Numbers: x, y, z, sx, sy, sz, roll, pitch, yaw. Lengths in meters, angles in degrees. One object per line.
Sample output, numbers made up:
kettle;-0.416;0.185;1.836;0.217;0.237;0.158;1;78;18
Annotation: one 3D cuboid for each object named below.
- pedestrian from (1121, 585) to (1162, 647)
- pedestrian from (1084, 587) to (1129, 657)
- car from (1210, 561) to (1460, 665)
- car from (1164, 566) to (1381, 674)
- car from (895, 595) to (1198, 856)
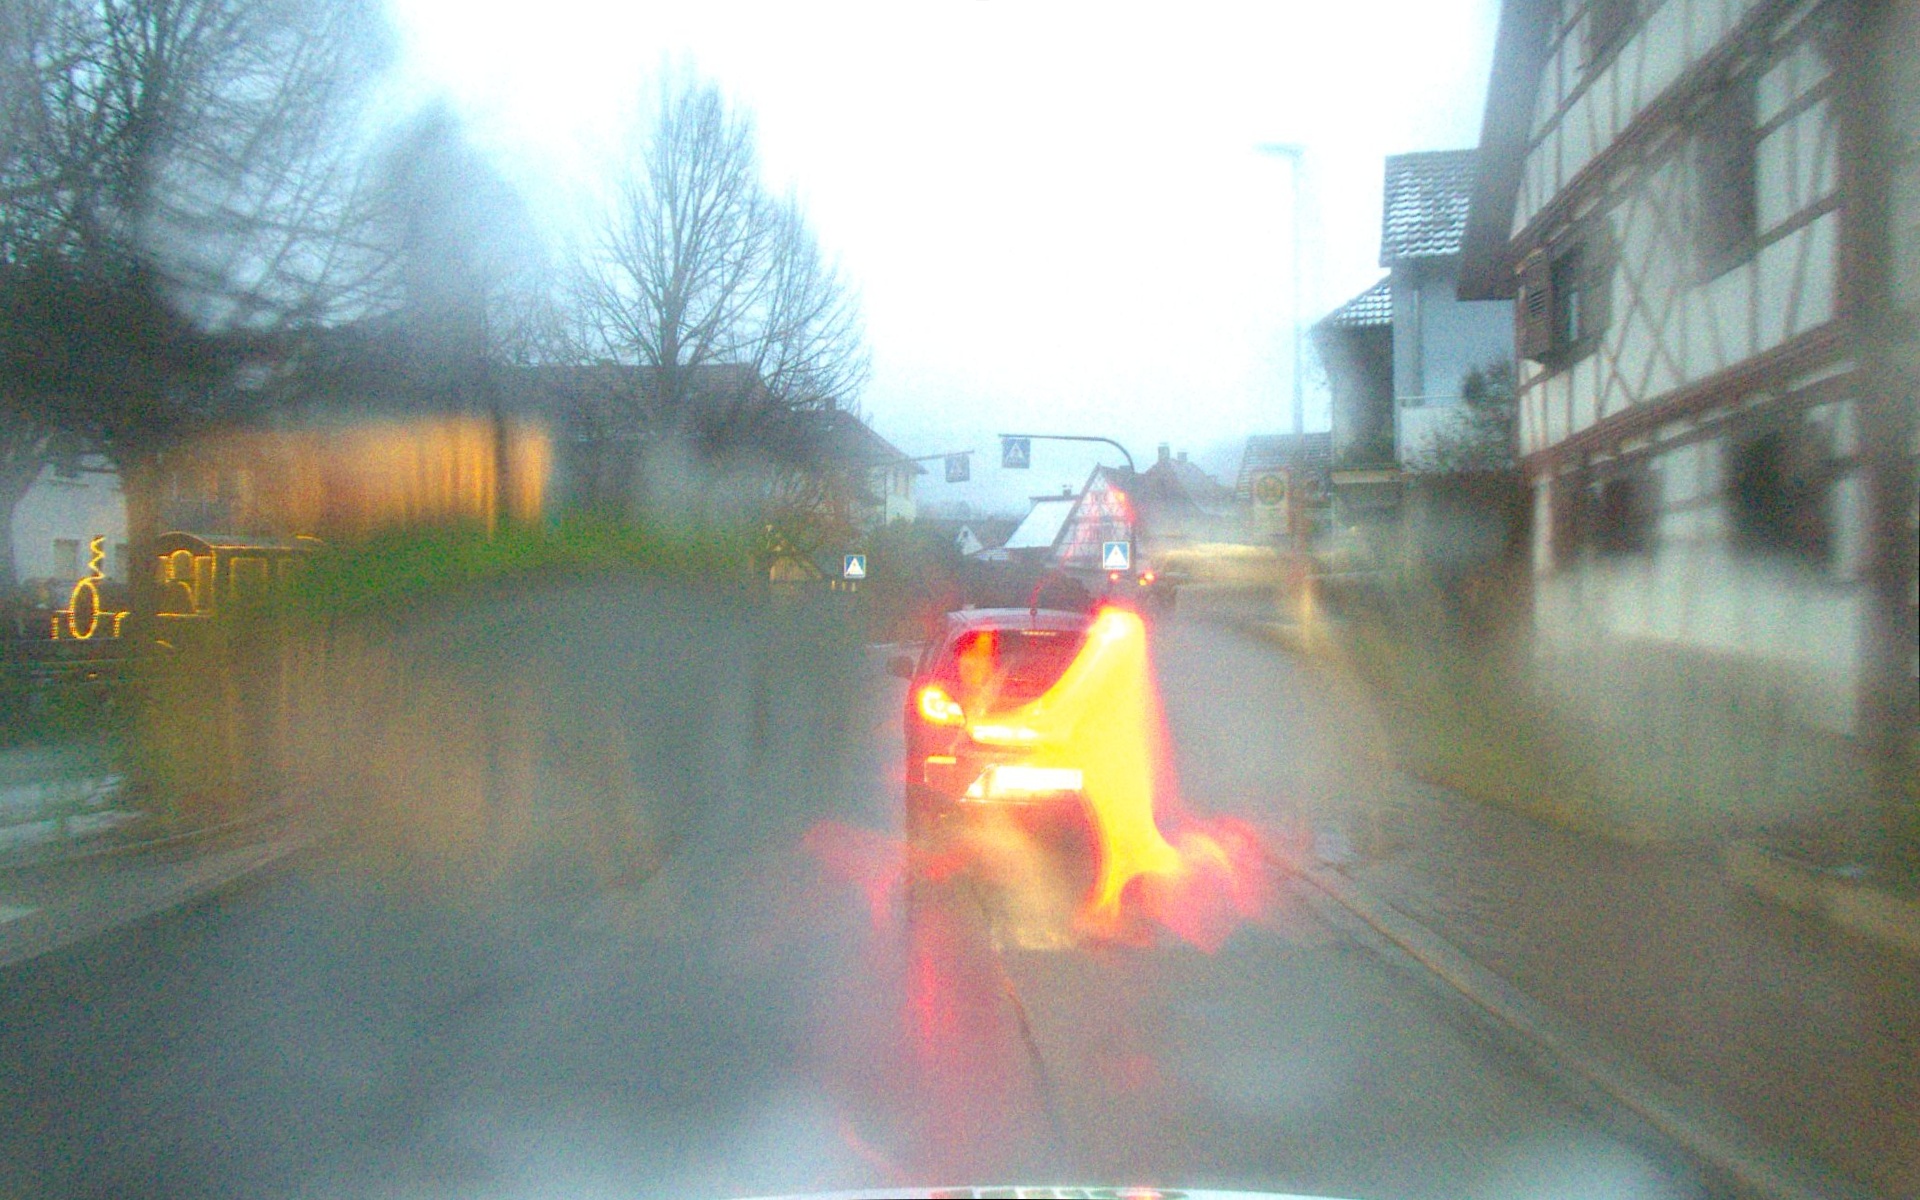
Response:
pedestrian;5.187;0.460;47.221;0.849;1.696;0.992;-4;-1;21
pedestrian;3.830;0.576;43.188;0.861;1.765;0.955;-4;-1;21
car;7.772;0.273;34.502;4.874;1.922;1.938;-2;0;13
car;6.016;0.393;32.155;3.956;1.875;1.865;-2;-1;8
car;0.528;0.734;11.688;1.758;1.502;4.000;1;0;1
